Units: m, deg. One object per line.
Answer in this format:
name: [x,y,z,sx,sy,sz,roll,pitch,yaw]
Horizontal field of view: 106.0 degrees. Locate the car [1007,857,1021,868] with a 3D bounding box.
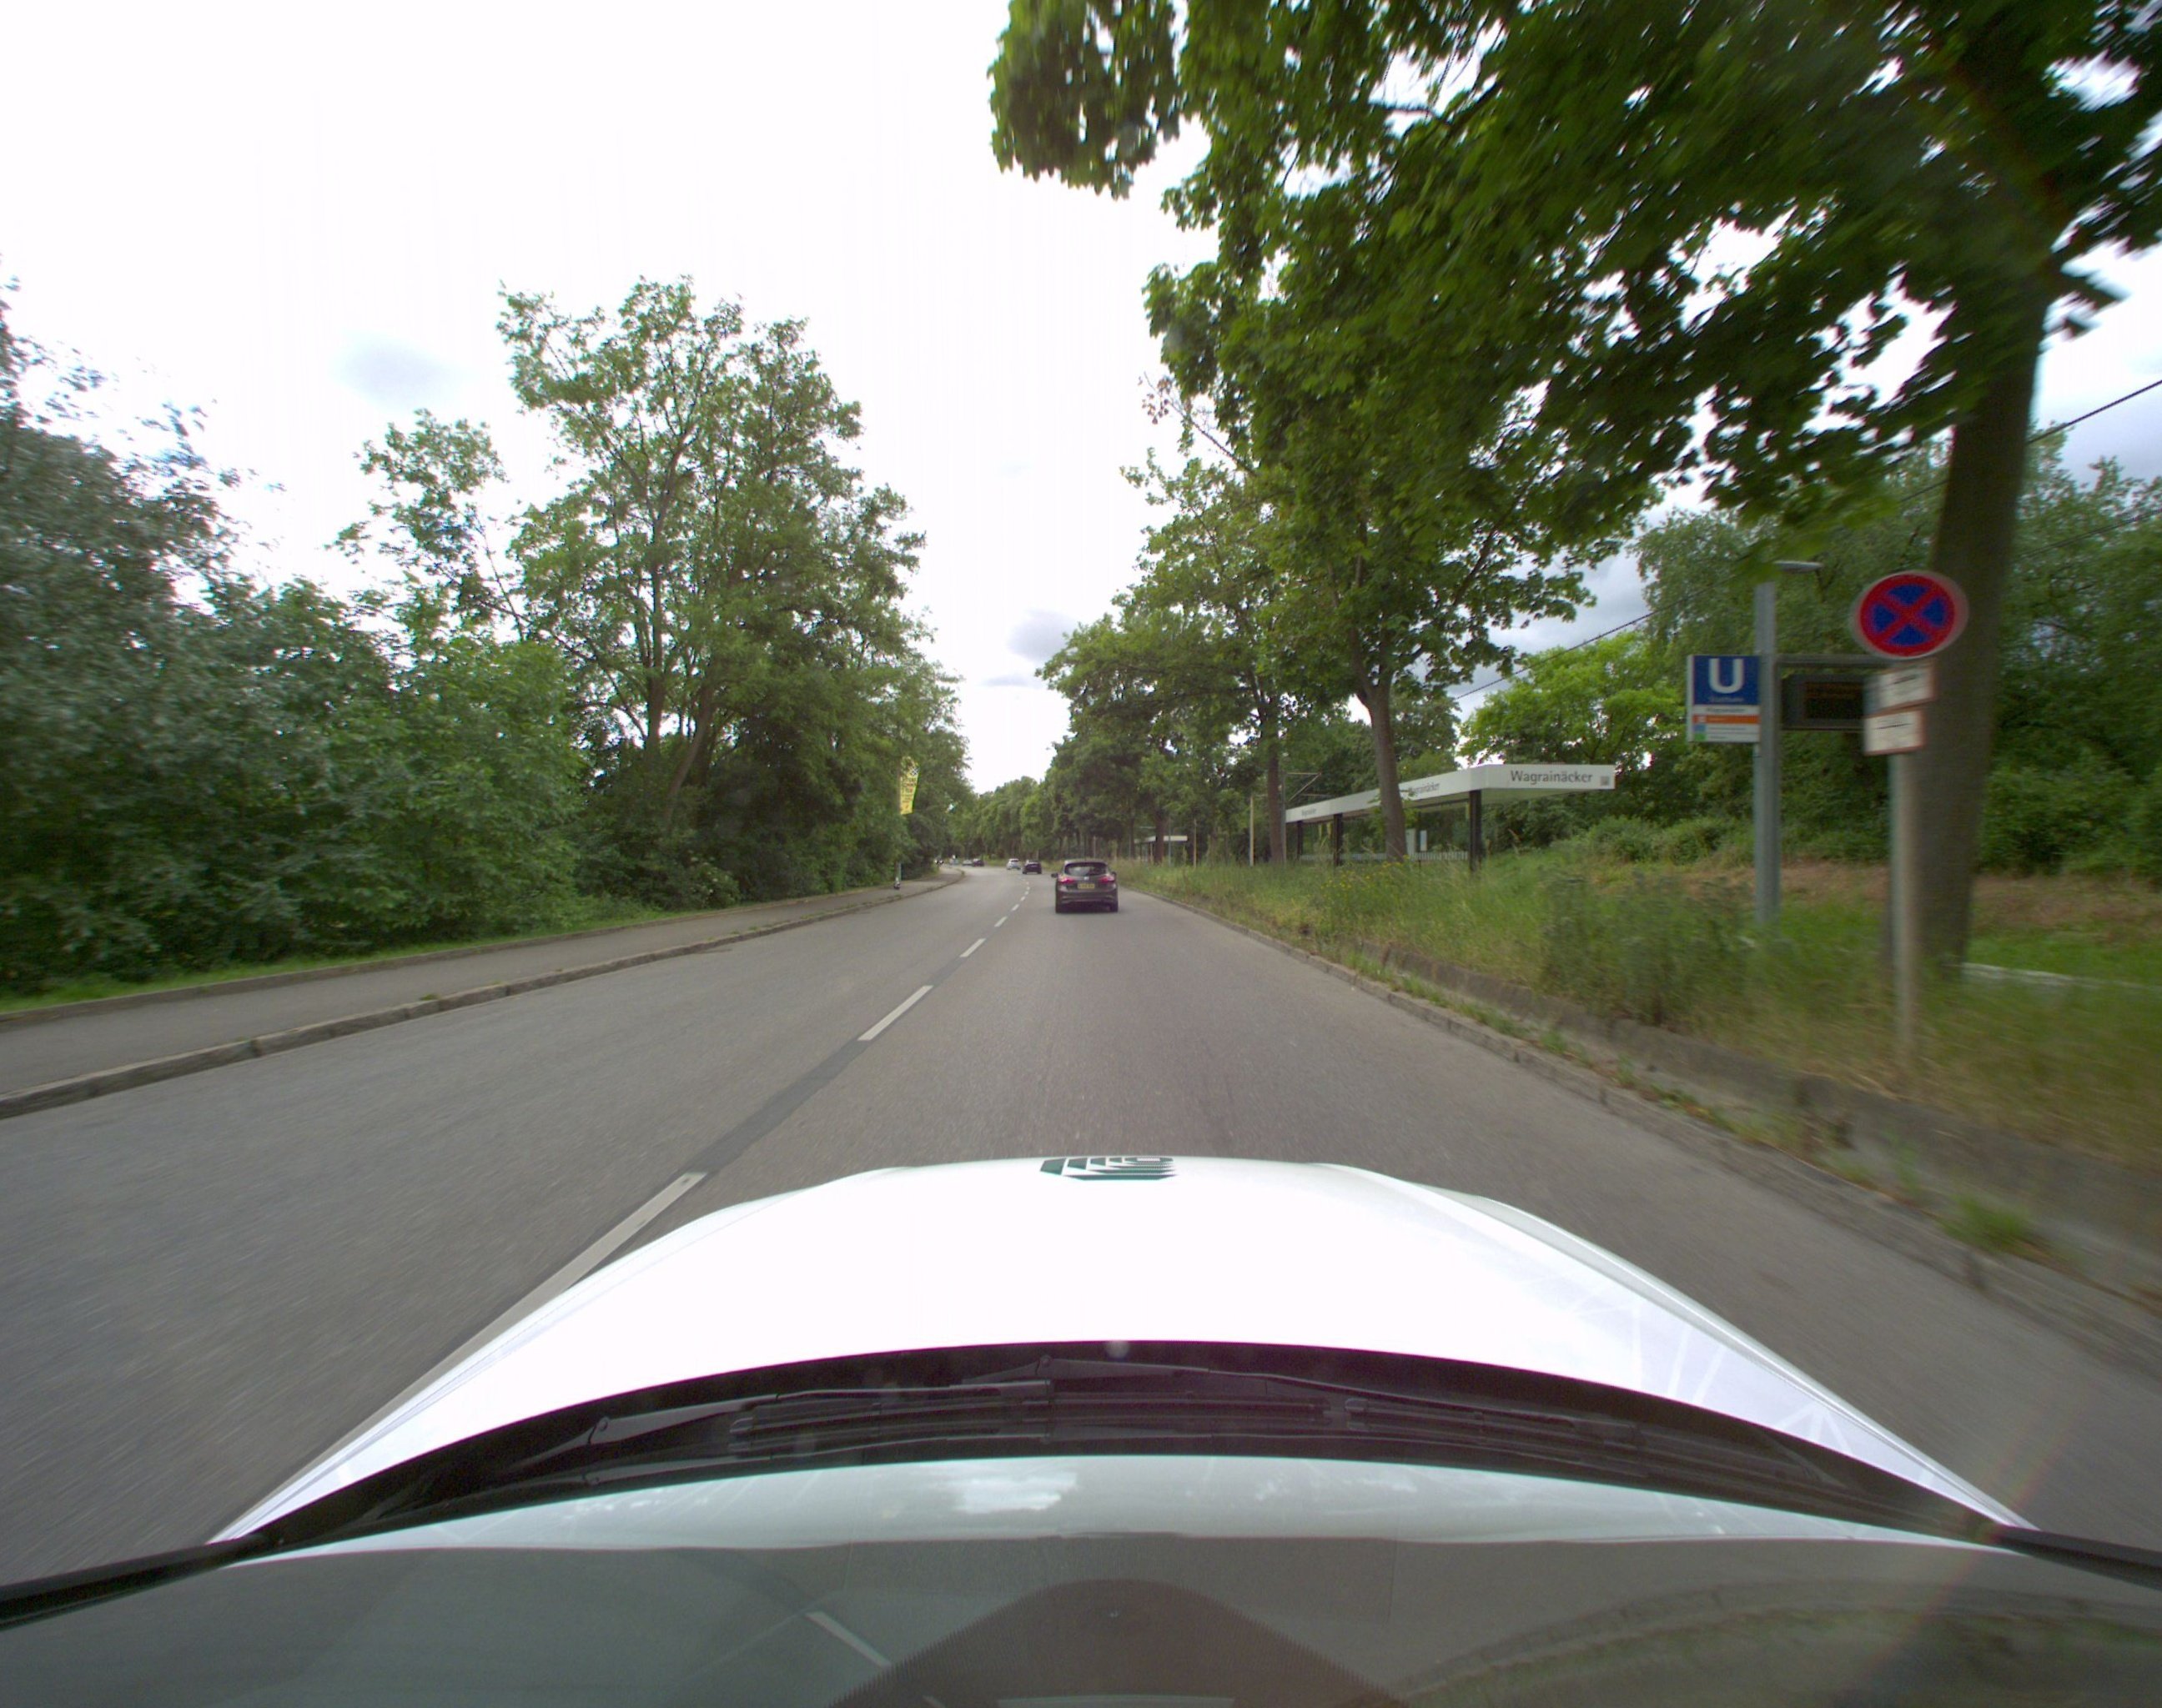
car: [-9.110,1.147,111.085,1.772,1.472,3.994,2,0,-4]

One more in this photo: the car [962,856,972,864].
car: [-22.848,1.224,163.210,1.776,1.472,3.987,1,1,-9]

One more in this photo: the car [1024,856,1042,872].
car: [-4.891,1.012,83.222,1.772,1.472,3.995,2,0,-3]

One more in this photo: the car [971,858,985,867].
car: [-18.766,1.508,148.028,1.779,1.472,3.979,3,0,-16]

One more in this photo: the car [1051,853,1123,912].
car: [0.098,0.765,23.915,1.812,1.508,3.995,-1,1,-4]

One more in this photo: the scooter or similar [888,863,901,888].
scooter or similar: [-9.265,1.053,40.474,0.366,1.184,1.288,1,0,-23]

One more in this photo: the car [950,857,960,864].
car: [-28.354,1.468,183.543,1.779,1.472,3.979,2,0,-16]
